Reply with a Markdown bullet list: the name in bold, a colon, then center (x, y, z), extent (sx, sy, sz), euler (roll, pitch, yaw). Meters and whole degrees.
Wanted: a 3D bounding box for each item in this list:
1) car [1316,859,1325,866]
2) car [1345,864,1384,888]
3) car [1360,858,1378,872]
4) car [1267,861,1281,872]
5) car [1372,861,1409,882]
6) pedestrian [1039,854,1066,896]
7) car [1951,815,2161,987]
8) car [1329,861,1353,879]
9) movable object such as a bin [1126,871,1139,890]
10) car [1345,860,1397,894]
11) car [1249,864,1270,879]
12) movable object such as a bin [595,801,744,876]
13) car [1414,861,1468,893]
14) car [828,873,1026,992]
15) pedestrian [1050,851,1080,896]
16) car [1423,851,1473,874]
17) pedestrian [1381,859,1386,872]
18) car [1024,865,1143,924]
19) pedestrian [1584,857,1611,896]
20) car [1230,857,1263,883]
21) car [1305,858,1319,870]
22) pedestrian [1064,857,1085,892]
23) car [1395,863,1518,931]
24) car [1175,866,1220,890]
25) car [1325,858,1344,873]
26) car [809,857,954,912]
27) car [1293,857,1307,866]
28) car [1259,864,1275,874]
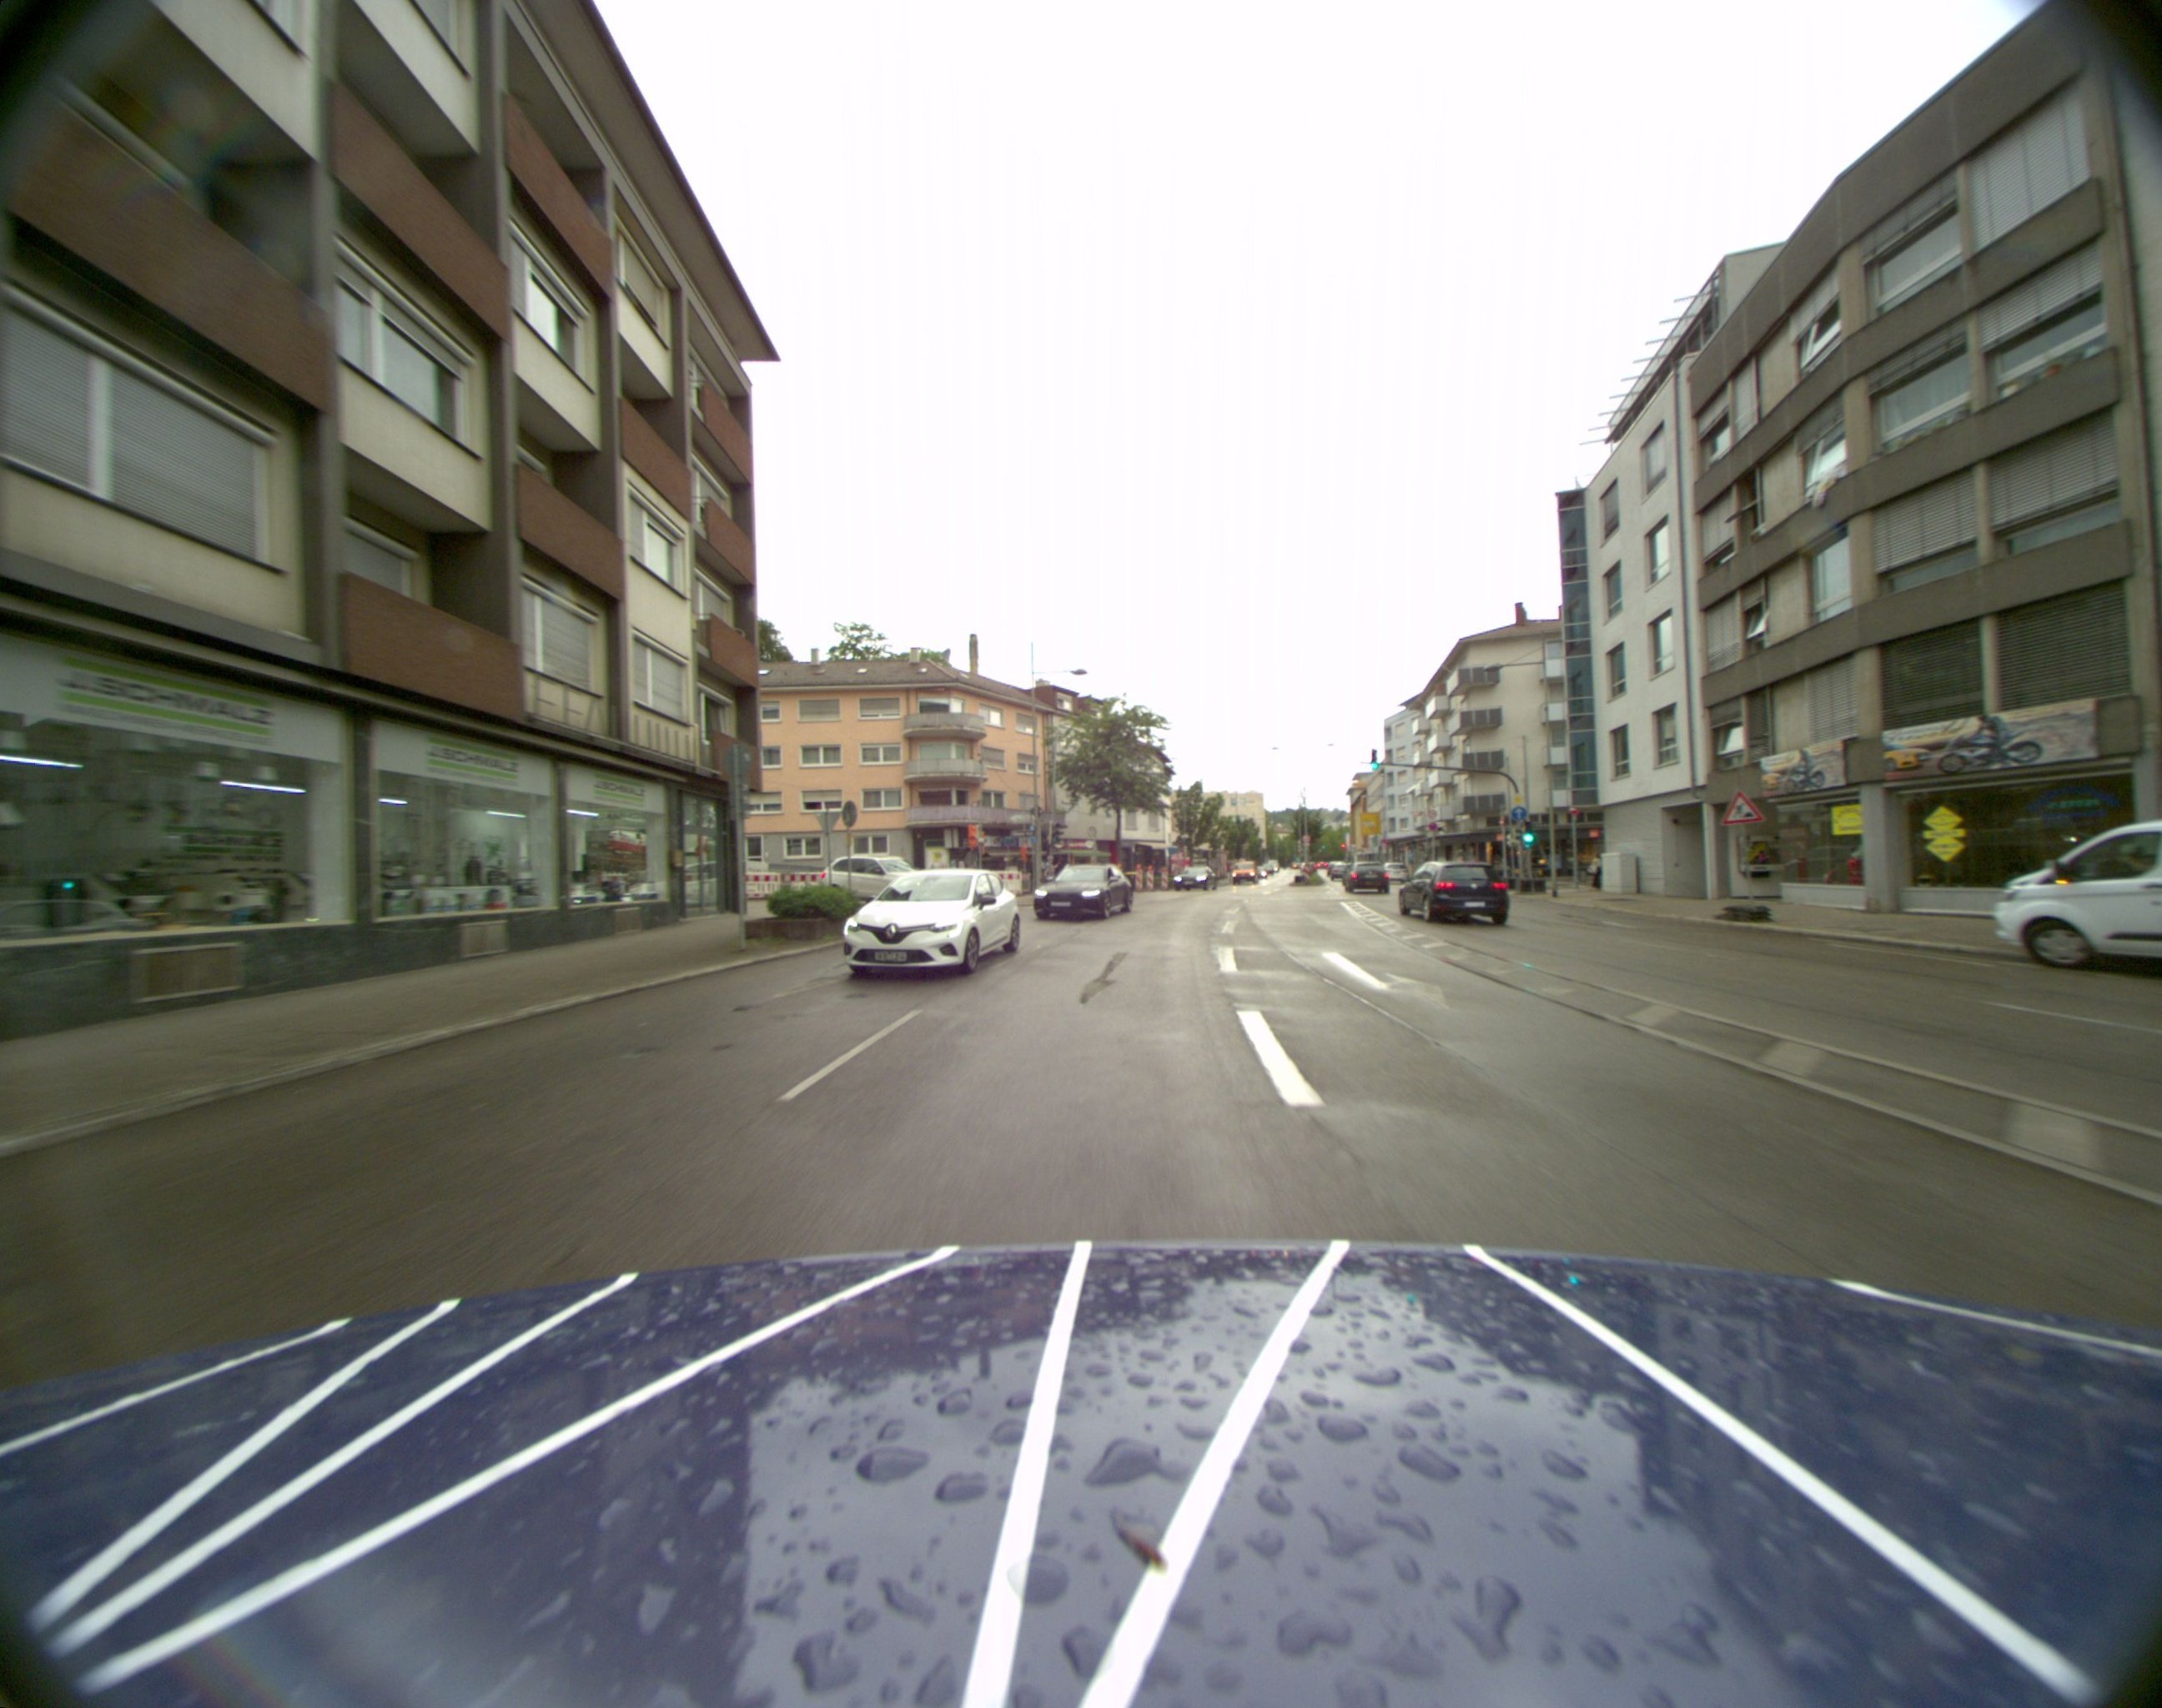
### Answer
- **car**: center (48.984, 1.655, 155.445), extent (1.700, 1.432, 3.845), euler (0, -1, 16)
- **car**: center (17.825, 1.358, 47.974), extent (1.827, 1.358, 4.608), euler (0, 0, 14)
- **car**: center (33.298, 1.298, 88.021), extent (1.774, 1.514, 4.290), euler (-1, -1, 19)
- **car**: center (33.769, 2.175, 132.839), extent (1.996, 1.598, 4.005), euler (-4, -1, 17)
- **car**: center (22.296, 1.234, 54.926), extent (1.931, 1.465, 4.609), euler (1, 0, 15)
- **pedestrian**: center (-1.163, 0.842, 30.872), extent (0.822, 1.678, 0.792), euler (-2, 2, -30)
- **car**: center (14.117, 0.550, 8.842), extent (2.124, 2.003, 5.128), euler (-4, 1, 2)
- **car**: center (22.310, 1.344, 65.176), extent (1.855, 1.465, 4.655), euler (-1, 0, 19)
- **movable object such as a bin**: center (2.862, 1.477, 42.247), extent (0.621, 1.025, 0.532), euler (0, -1, 16)
- **car**: center (13.586, 1.022, 35.765), extent (1.986, 1.451, 4.492), euler (0, 0, 17)
- **car**: center (19.938, 1.892, 84.714), extent (1.841, 1.433, 4.005), euler (-4, -1, 17)
- **movable object such as a bin**: center (-22.739, -0.810, 42.270), extent (6.534, 3.615, 2.742), euler (4, -1, -4)
- **car**: center (16.548, 1.051, 35.111), extent (1.724, 1.391, 3.599), euler (-1, -1, 17)
- **car**: center (-2.103, 1.029, 11.546), extent (1.679, 1.395, 4.003), euler (0, 0, 8)
- **pedestrian**: center (-0.671, 0.798, 32.011), extent (0.920, 1.850, 1.029), euler (-1, 2, -24)
- **car**: center (34.729, 0.838, 71.924), extent (3.992, 2.042, 1.897), euler (-2, 0, 18)
- **pedestrian**: center (39.647, 1.448, 99.622), extent (0.512, 1.678, 0.532), euler (0, 2, 17)
- **car**: center (0.249, 1.069, 22.137), extent (2.037, 1.379, 5.300), euler (2, 0, 16)
- **pedestrian**: center (21.428, 0.921, 31.521), extent (0.834, 1.598, 0.624), euler (-1, -1, -36)
- **car**: center (14.603, 1.380, 66.715), extent (2.195, 2.073, 5.941), euler (-2, 0, 18)
- **car**: center (32.541, 1.389, 107.065), extent (1.849, 1.584, 4.096), euler (-1, -1, 18)
- **pedestrian**: center (-0.352, 1.129, 41.170), extent (0.659, 1.868, 0.991), euler (-2, -1, -30)
- **car**: center (9.149, 0.965, 18.852), extent (1.686, 1.464, 4.004), euler (1, 0, 10)
- **car**: center (6.849, 1.394, 44.326), extent (1.809, 1.331, 4.285), euler (-1, -2, 20)
- **car**: center (27.727, 1.260, 83.061), extent (1.832, 1.534, 4.290), euler (-1, -1, 17)
- **car**: center (-6.924, 0.975, 26.257), extent (4.785, 1.710, 2.004), euler (1, 0, 29)
- **car**: center (36.102, 1.279, 125.309), extent (1.847, 1.409, 4.621), euler (1, -1, 13)
- **car**: center (26.298, 2.112, 107.384), extent (1.811, 1.334, 4.005), euler (-4, -1, 17)
